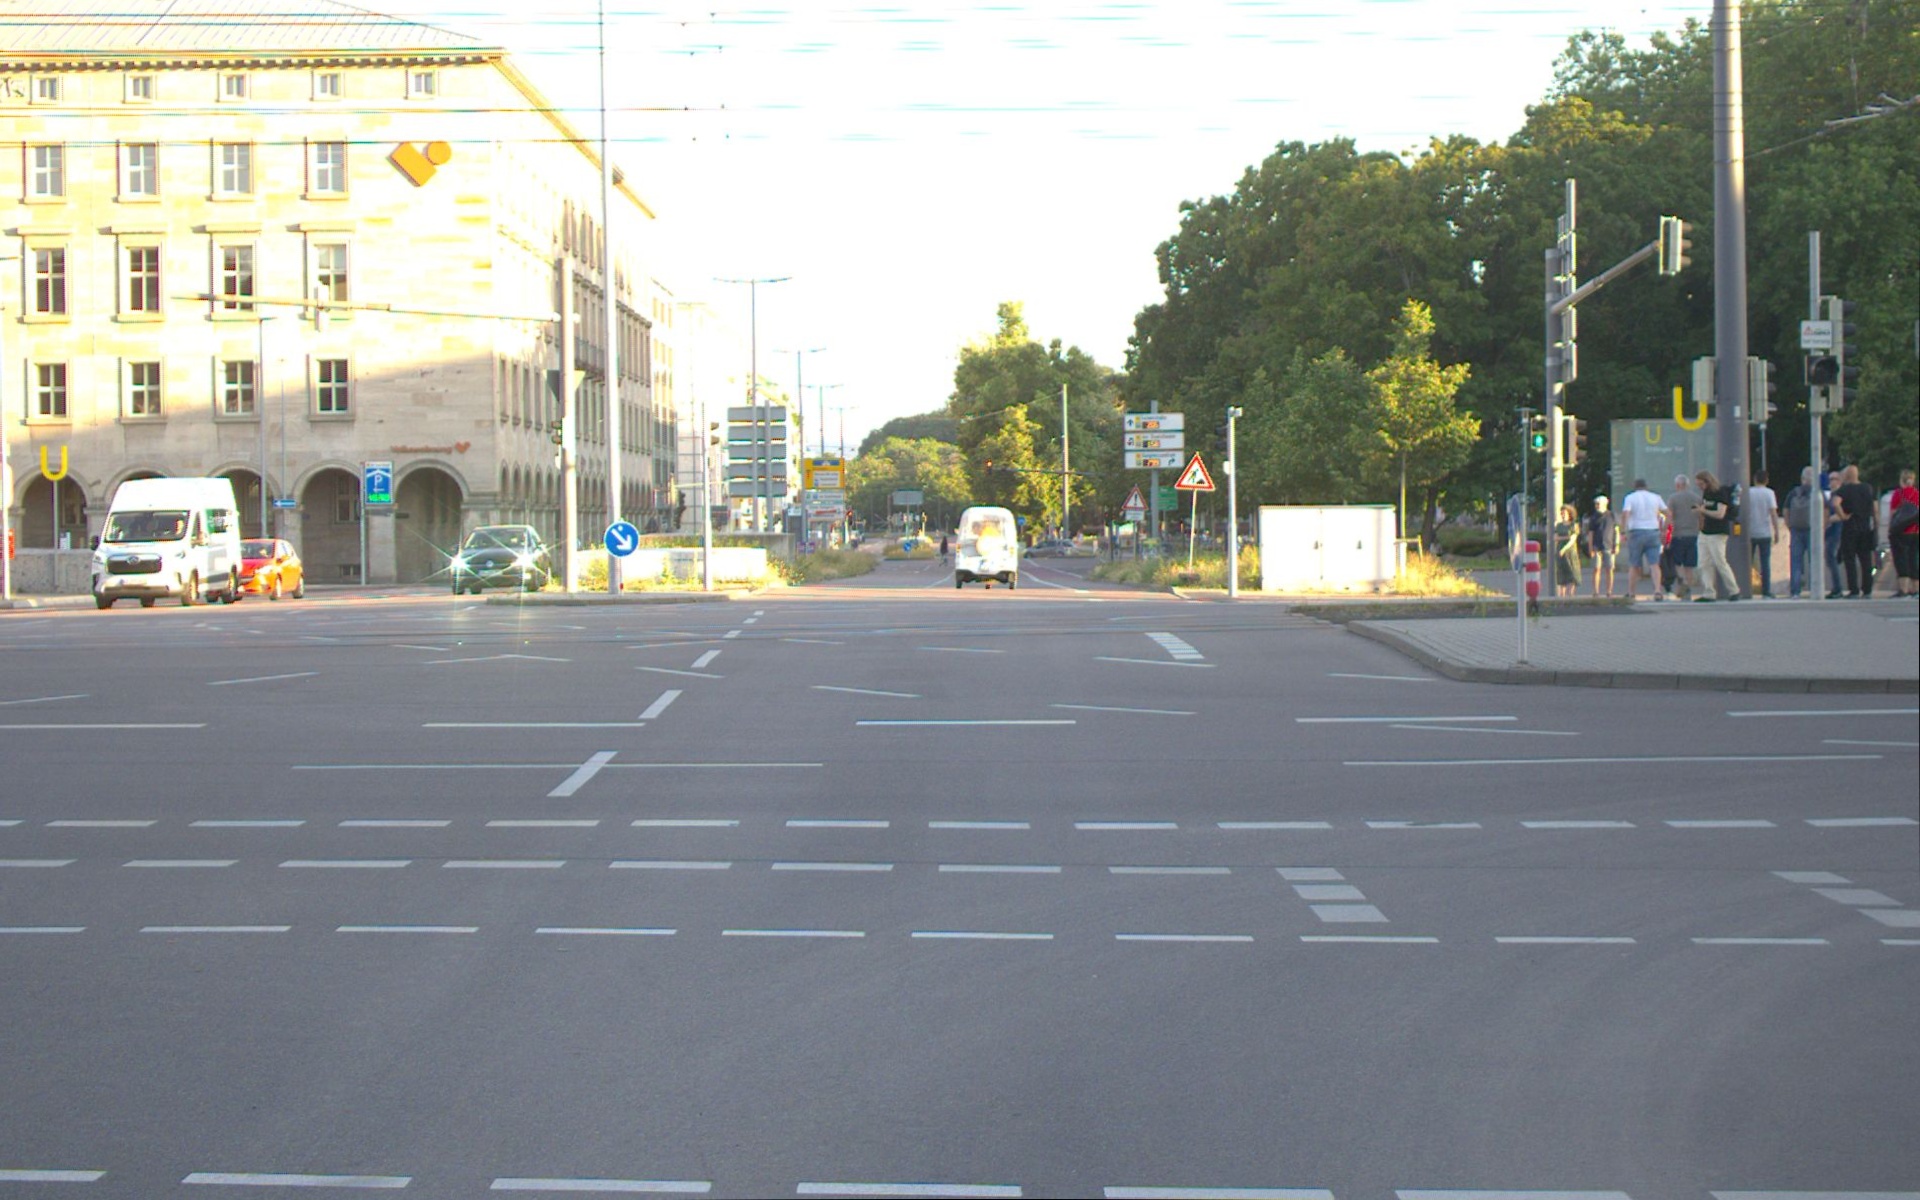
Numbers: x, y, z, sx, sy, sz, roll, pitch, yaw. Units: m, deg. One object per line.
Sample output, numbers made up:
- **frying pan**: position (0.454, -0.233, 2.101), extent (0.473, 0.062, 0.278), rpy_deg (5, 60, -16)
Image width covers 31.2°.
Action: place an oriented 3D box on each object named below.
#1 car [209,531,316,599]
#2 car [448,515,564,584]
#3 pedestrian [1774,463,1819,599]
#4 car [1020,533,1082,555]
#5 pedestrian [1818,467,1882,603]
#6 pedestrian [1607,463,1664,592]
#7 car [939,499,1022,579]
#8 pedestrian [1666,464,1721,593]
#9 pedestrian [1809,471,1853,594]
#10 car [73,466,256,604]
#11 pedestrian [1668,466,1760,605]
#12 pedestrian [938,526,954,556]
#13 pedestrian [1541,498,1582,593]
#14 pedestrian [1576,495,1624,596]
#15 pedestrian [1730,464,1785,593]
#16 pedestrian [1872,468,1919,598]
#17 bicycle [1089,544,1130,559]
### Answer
- **car**: position (-16.437, -0.848, 81.189), extent (1.738, 1.482, 4.001), rpy_deg (-1, 2, -1)
- **car**: position (-9.558, -1.087, 72.633), extent (1.823, 1.337, 4.000), rpy_deg (-1, 2, 2)
- **pedestrian**: position (11.113, -0.915, 45.659), extent (0.572, 1.785, 0.638), rpy_deg (0, 2, 14)
- **car**: position (6.237, -3.820, 234.738), extent (3.989, 1.482, 1.743), rpy_deg (0, 2, 12)
- **pedestrian**: position (11.802, -0.862, 45.607), extent (0.805, 1.785, 0.800), rpy_deg (0, 2, 14)
- **pedestrian**: position (9.064, -0.974, 46.138), extent (0.711, 1.719, 0.668), rpy_deg (0, 2, 14)
- **car**: position (0.429, -1.341, 74.580), extent (1.483, 1.690, 2.974), rpy_deg (-1, 2, -5)
- **pedestrian**: position (9.872, -0.964, 46.263), extent (0.711, 1.719, 0.668), rpy_deg (0, 2, 13)
- **pedestrian**: position (11.940, -0.932, 47.127), extent (0.572, 1.673, 0.638), rpy_deg (0, 2, 14)
- **car**: position (-16.695, -1.396, 72.479), extent (2.279, 2.766, 6.084), rpy_deg (-1, 2, 1)
- **pedestrian**: position (9.489, -0.820, 43.289), extent (0.912, 1.719, 0.713), rpy_deg (-2, 2, -39)
- **pedestrian**: position (-0.794, -3.348, 194.524), extent (0.906, 1.665, 1.307), rpy_deg (-1, 2, -1)
- **pedestrian**: position (10.615, -0.968, 60.654), extent (0.560, 1.649, 0.901), rpy_deg (0, 2, 20)
- **pedestrian**: position (11.274, -0.960, 60.537), extent (0.680, 1.751, 0.901), rpy_deg (0, 2, 20)
- **pedestrian**: position (10.800, -0.976, 46.557), extent (0.711, 1.719, 0.914), rpy_deg (0, 2, 13)
- **pedestrian**: position (12.671, -0.899, 46.010), extent (0.845, 1.728, 0.705), rpy_deg (0, 2, 12)
- **bicycle**: position (9.834, -3.202, 225.930), extent (2.601, 0.955, 0.515), rpy_deg (-1, 1, -16)
